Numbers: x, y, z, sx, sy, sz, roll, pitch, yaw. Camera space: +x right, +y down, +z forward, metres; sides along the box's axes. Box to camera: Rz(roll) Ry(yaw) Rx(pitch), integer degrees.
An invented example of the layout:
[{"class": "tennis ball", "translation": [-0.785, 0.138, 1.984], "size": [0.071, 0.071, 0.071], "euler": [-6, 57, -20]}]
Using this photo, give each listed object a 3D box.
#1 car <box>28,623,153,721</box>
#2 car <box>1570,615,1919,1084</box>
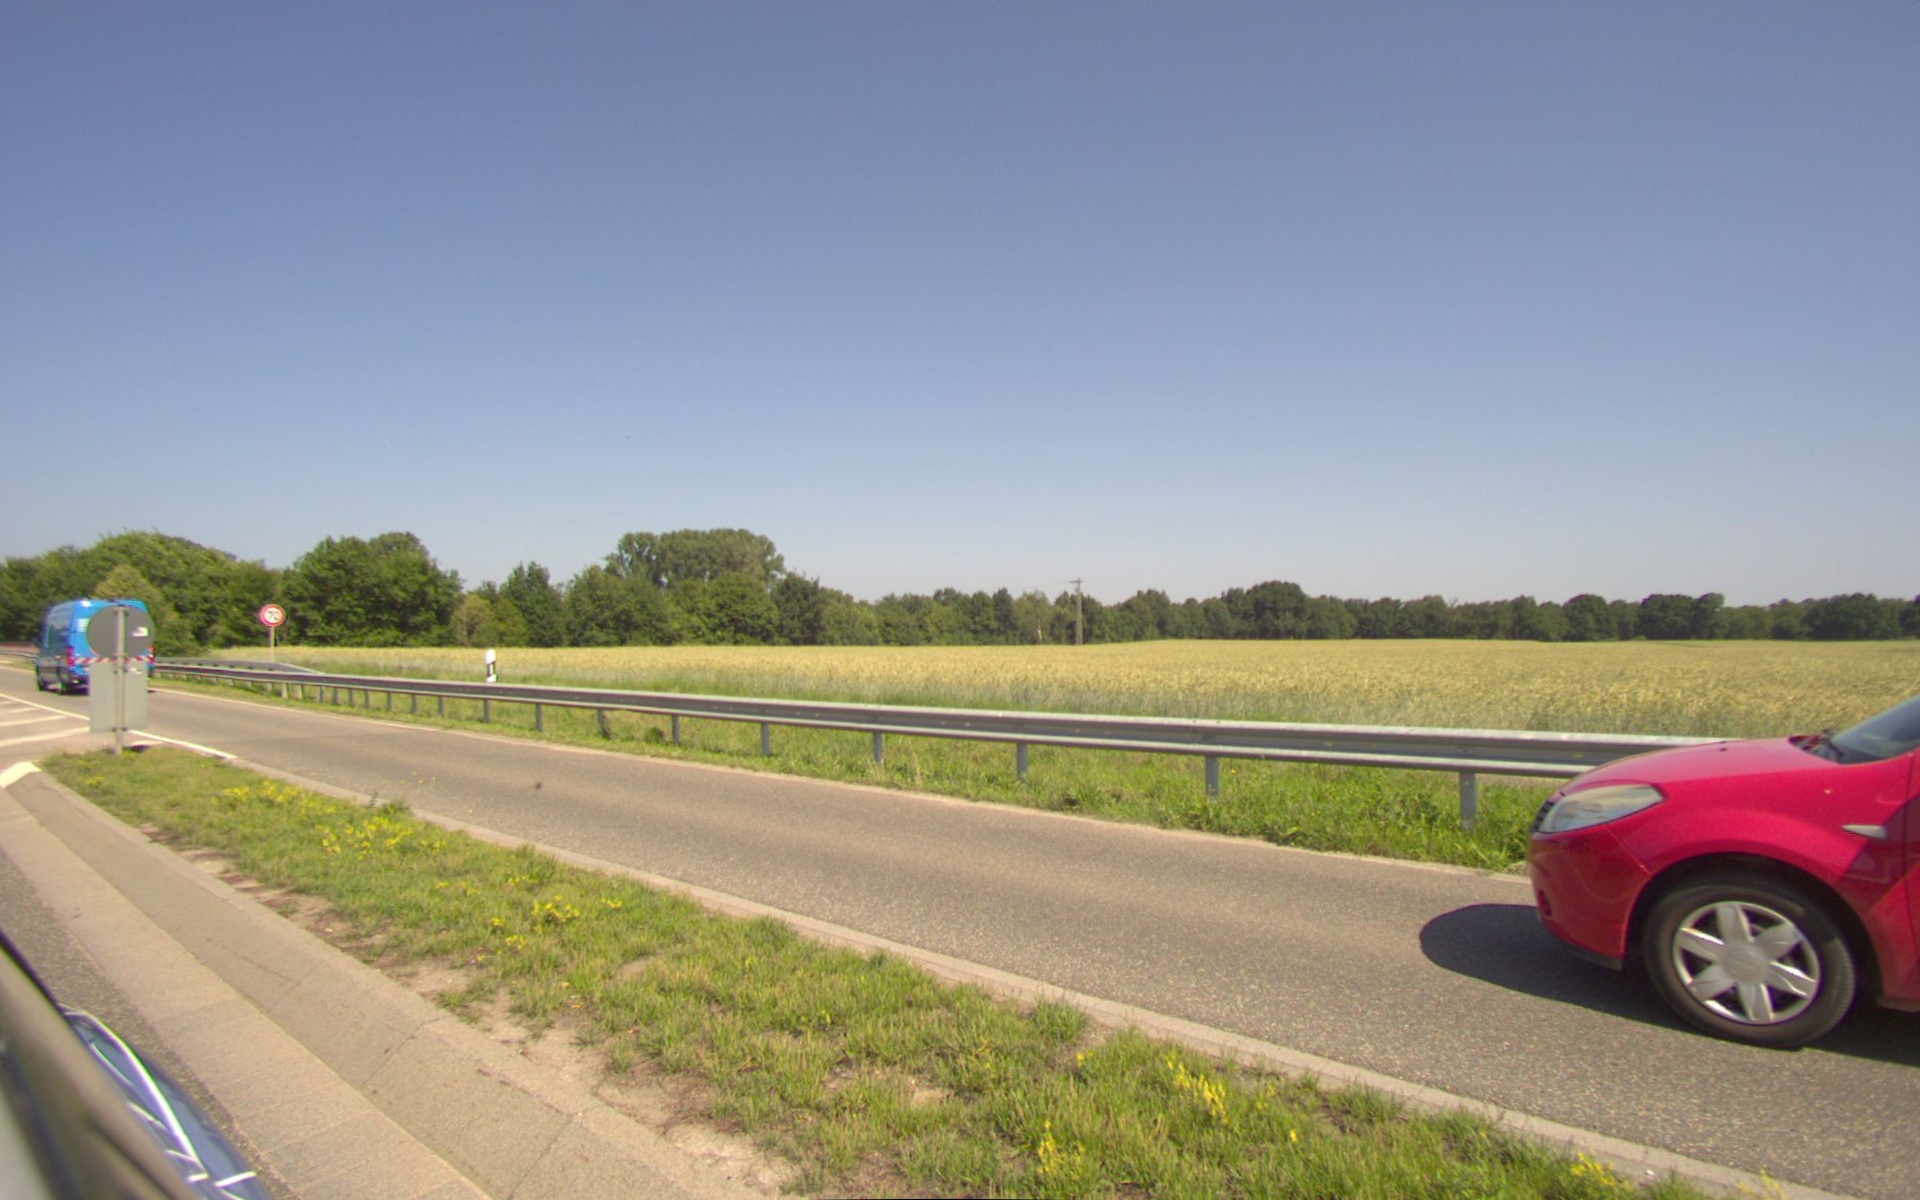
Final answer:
[{"class": "car", "translation": [-26.354, 2.121, 30.567], "size": [7.289, 2.631, 1.972], "euler": [-3, -4, 42]}, {"class": "car", "translation": [4.330, 0.798, 3.323], "size": [3.797, 1.502, 1.611], "euler": [-3, -4, 38]}]
